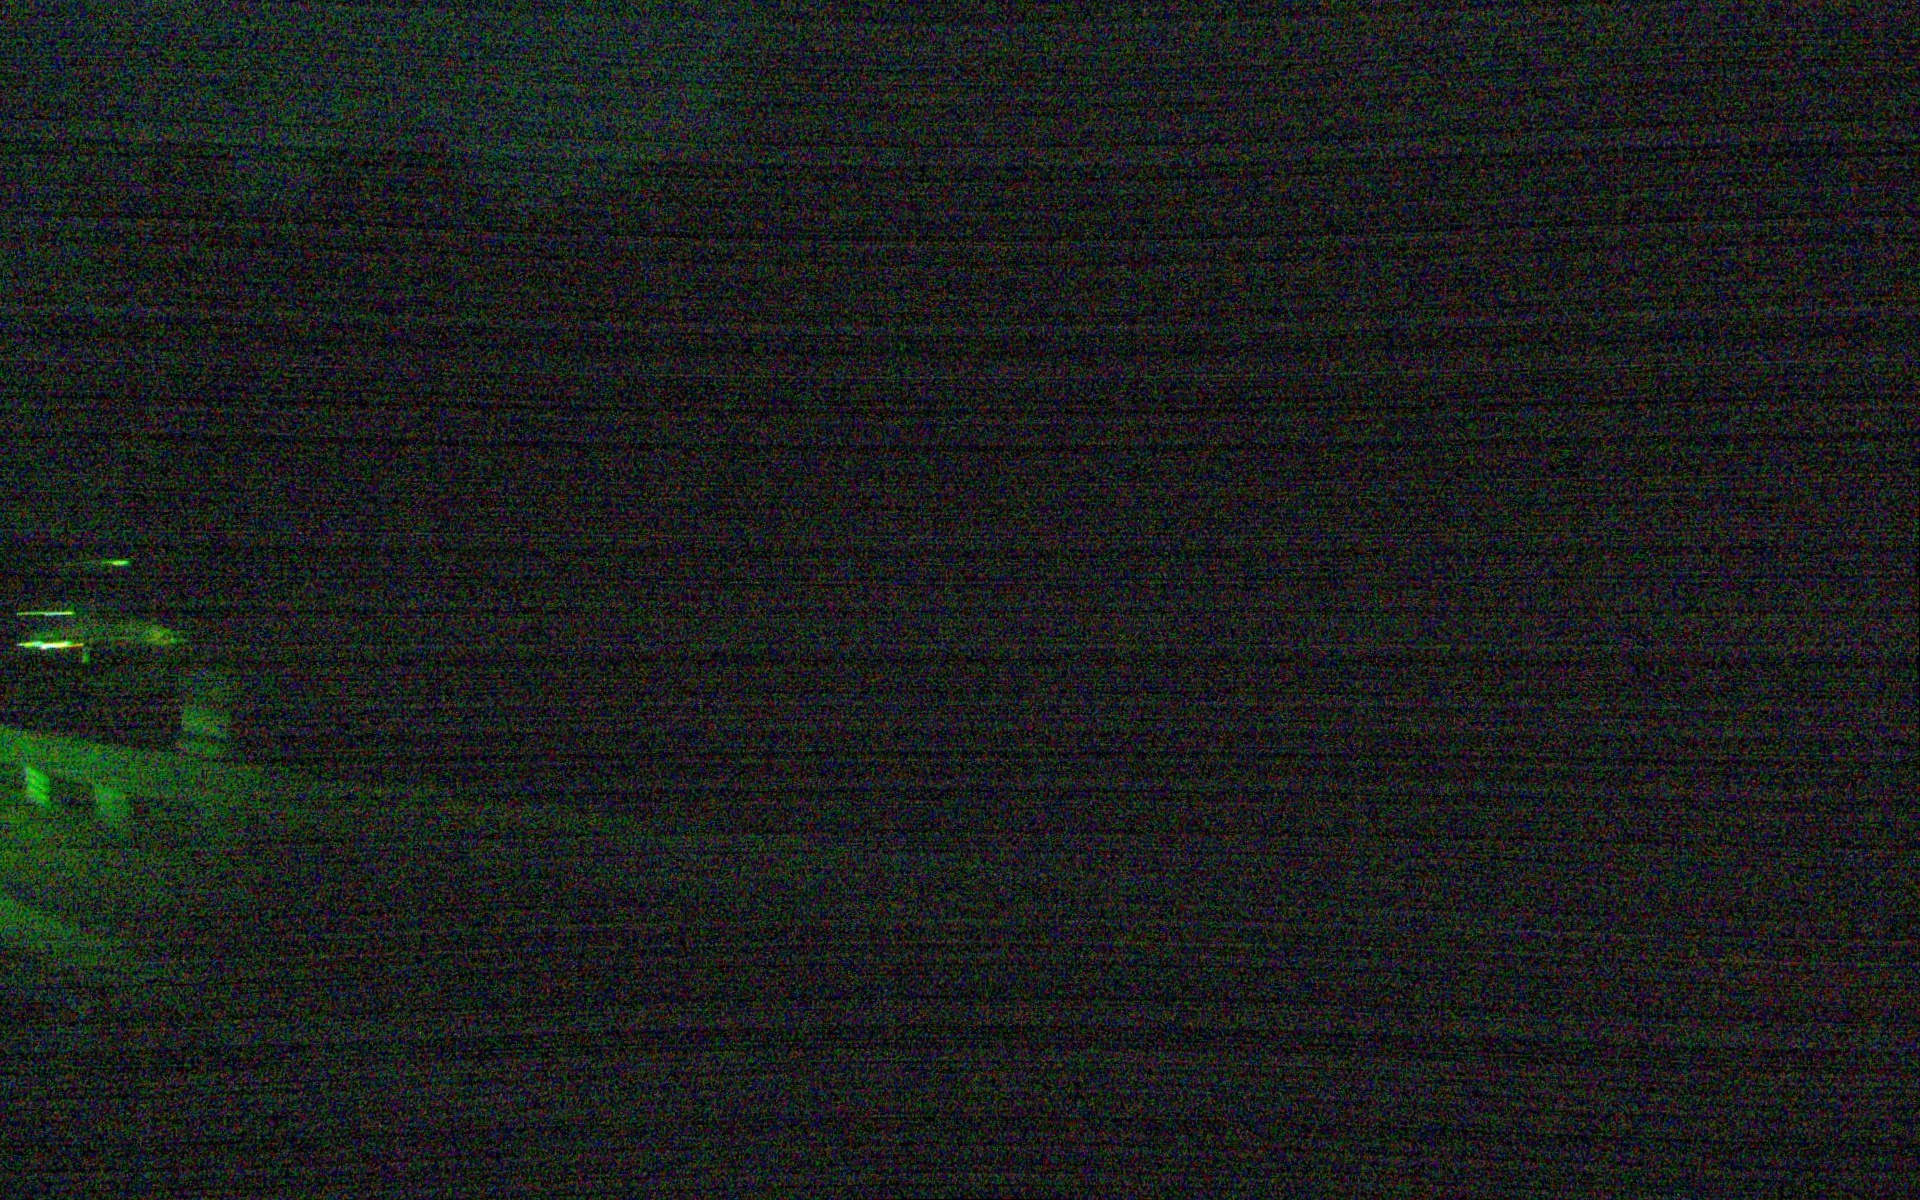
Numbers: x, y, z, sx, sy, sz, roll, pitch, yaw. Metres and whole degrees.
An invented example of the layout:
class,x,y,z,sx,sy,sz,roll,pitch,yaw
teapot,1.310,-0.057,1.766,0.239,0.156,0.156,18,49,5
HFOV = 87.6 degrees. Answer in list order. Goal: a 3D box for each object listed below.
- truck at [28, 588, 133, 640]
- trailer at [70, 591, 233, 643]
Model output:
class,x,y,z,sx,sy,sz,roll,pitch,yaw
truck,-64.891,1.095,74.069,2.714,3.640,5.965,1,-2,-4
trailer,-65.191,1.545,81.443,2.714,3.863,13.767,1,-2,-3
